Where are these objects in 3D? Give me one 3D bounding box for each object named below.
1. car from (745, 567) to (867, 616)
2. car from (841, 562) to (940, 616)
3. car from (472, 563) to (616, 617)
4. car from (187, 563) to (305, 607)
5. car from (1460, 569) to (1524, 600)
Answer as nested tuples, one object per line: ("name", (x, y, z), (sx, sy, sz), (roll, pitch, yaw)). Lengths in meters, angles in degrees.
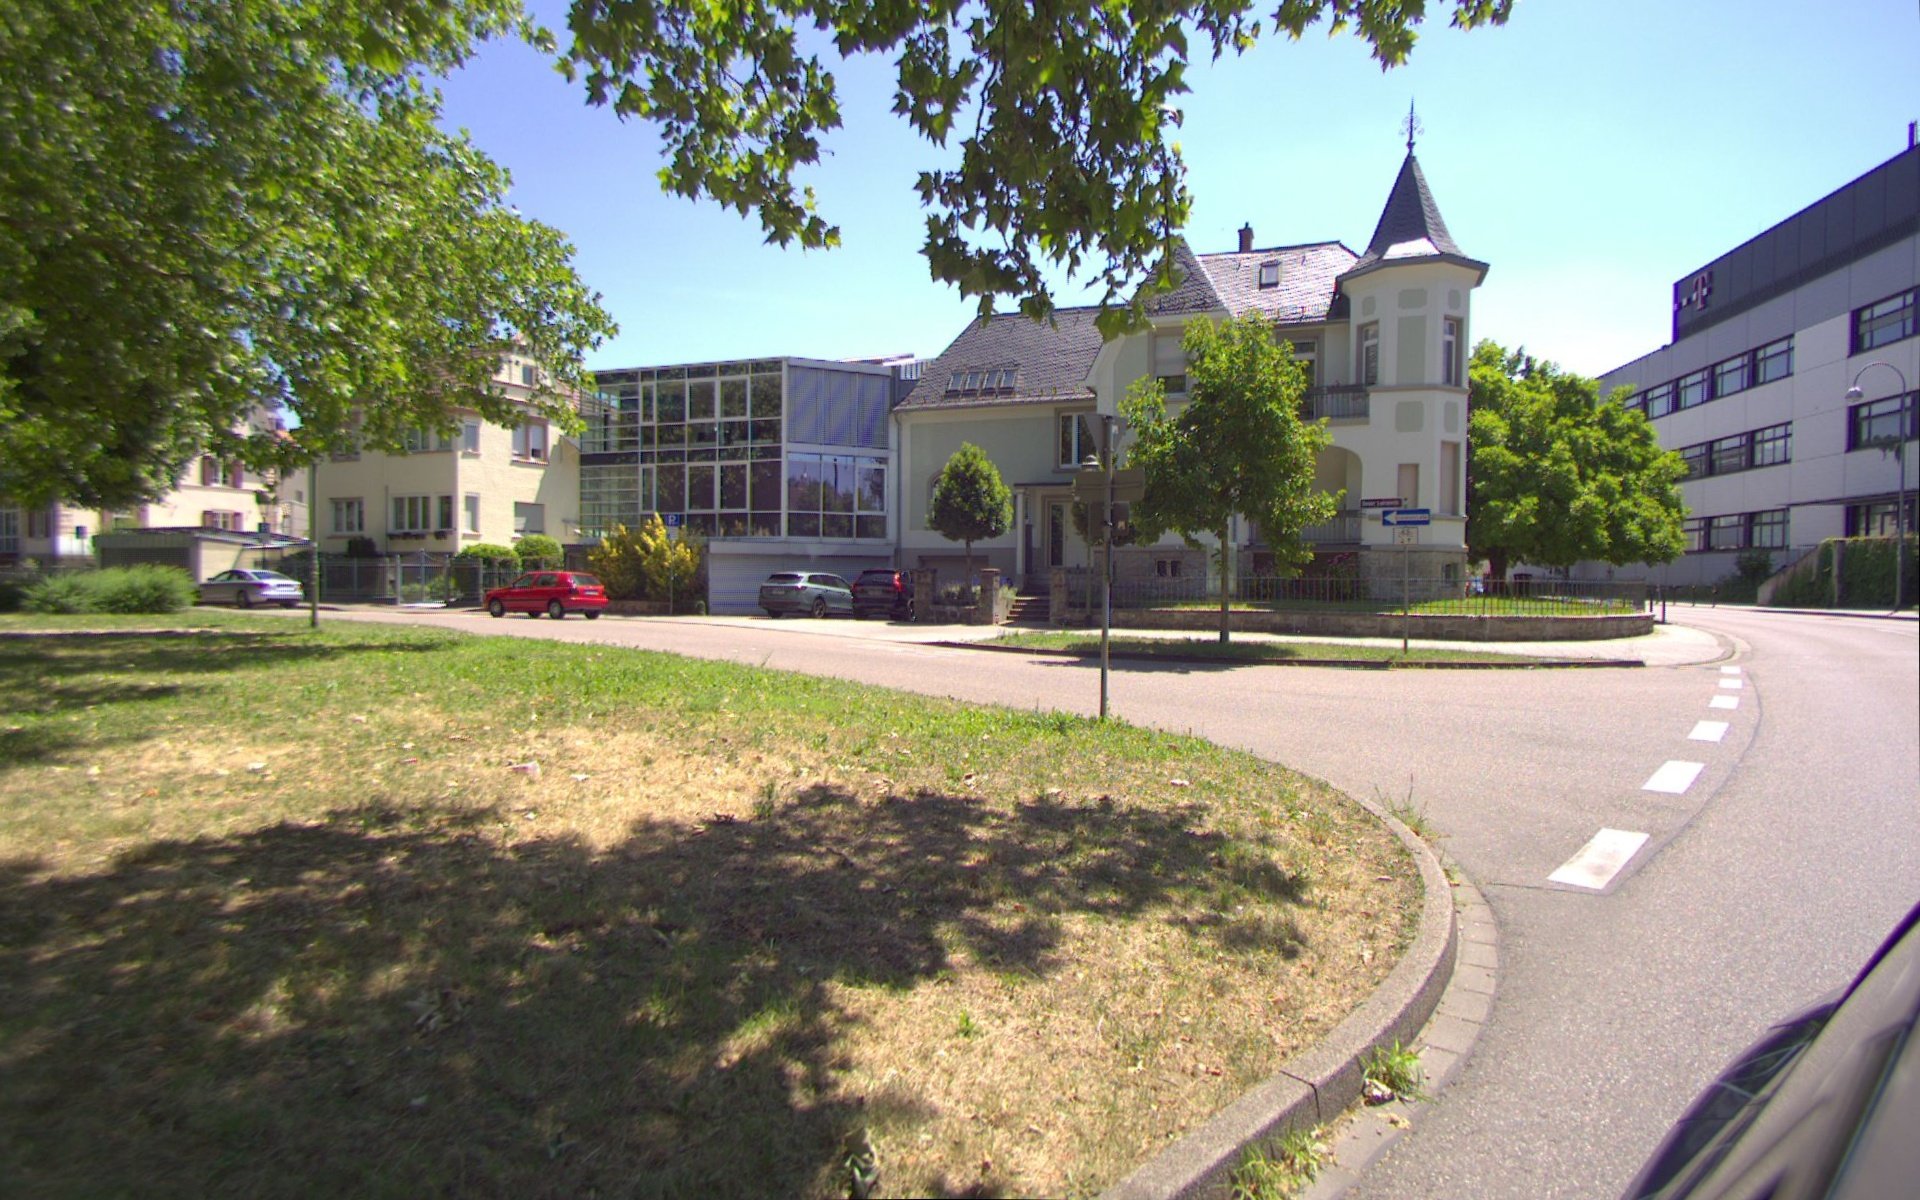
("car", (-4.824, -0.322, 32.195), (1.980, 1.408, 3.966), (1, 2, 26))
("car", (-2.122, -0.401, 31.940), (1.971, 1.587, 3.983), (0, 2, 15))
("car", (-12.649, -0.320, 30.809), (3.951, 1.543, 1.742), (1, 0, 21))
("car", (-26.380, -0.573, 37.385), (3.954, 1.526, 1.741), (1, 2, 23))
("car", (27.520, -0.836, 52.507), (1.746, 1.560, 3.990), (0, 2, 10))
